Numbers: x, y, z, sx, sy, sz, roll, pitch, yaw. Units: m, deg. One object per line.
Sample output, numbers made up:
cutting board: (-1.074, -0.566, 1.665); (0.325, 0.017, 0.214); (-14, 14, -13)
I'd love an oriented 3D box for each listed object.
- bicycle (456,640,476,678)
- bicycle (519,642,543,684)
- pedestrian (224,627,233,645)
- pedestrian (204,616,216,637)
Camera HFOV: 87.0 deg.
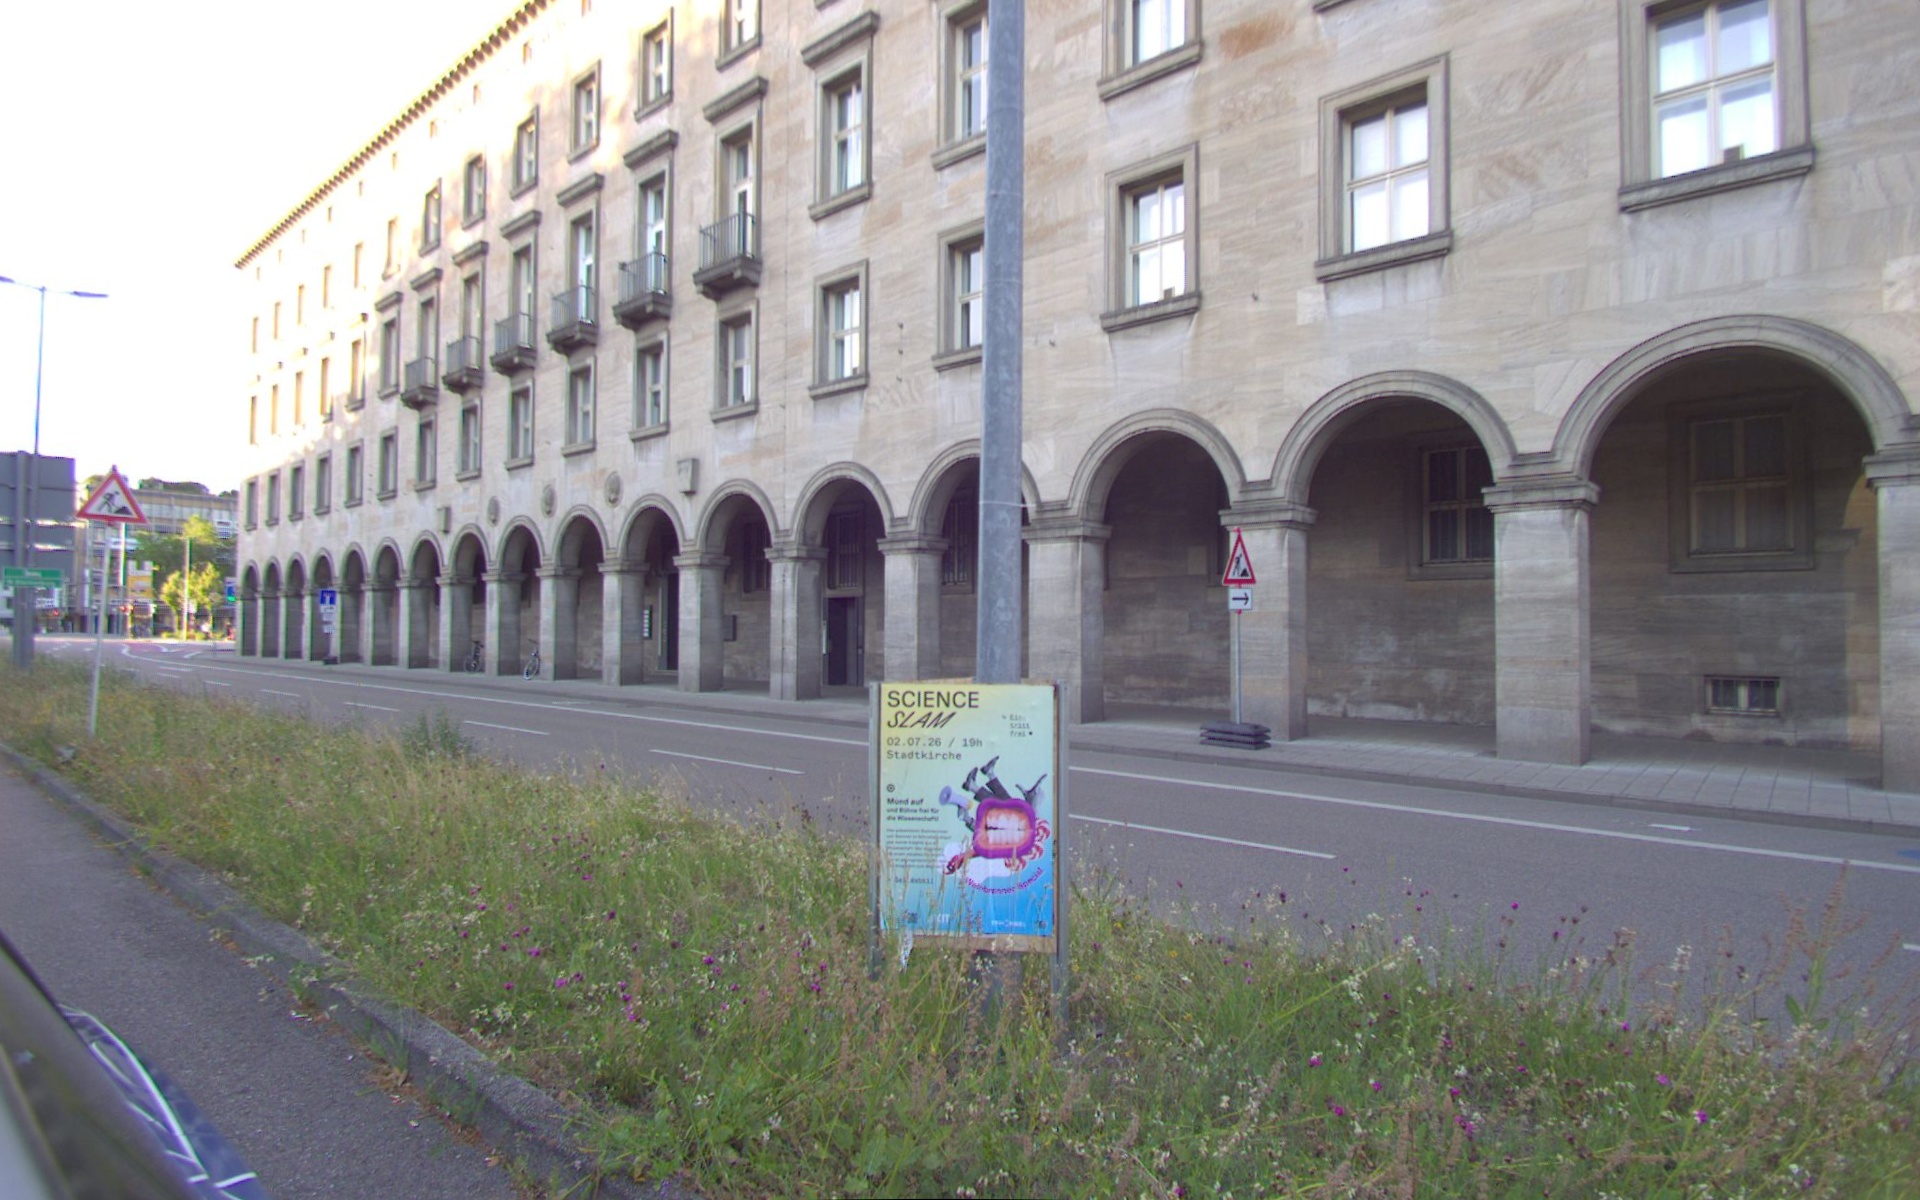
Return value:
bicycle: (-16.215, 1.924, 33.249); (0.505, 1.188, 2.431); (1, -2, -25)
bicycle: (-12.782, 1.855, 30.170); (0.505, 1.130, 2.431); (1, -1, -20)
pedestrian: (-62.437, 3.103, 86.400); (0.389, 1.553, 0.519); (-2, -3, 41)
pedestrian: (-63.473, 2.242, 85.661); (0.506, 1.771, 0.630); (-2, -3, 41)
